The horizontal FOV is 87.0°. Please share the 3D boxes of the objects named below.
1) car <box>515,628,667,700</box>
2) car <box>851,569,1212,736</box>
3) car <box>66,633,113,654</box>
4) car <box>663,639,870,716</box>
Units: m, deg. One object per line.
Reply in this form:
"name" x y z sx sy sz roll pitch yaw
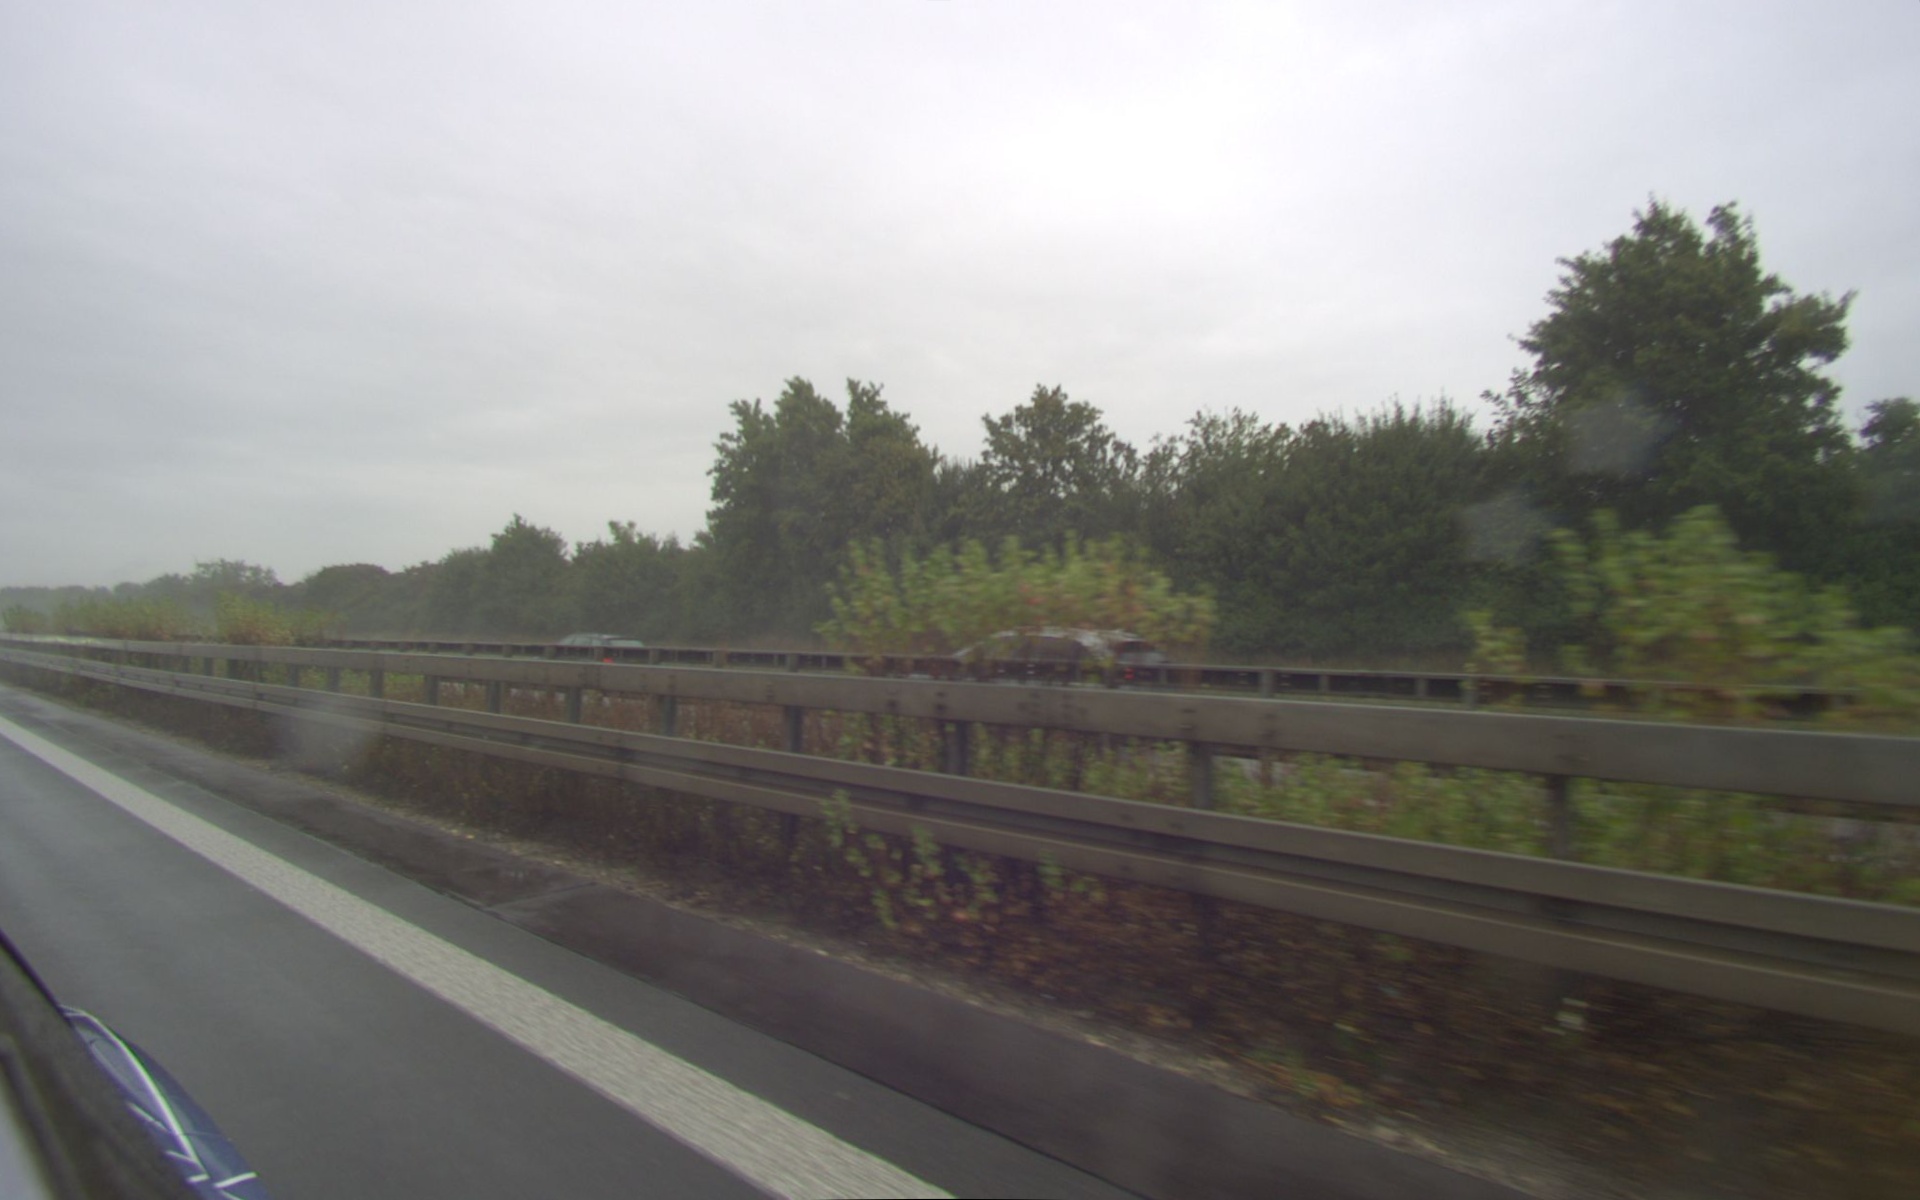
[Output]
"car" -10.426 1.746 28.424 4.625 1.805 2.010 -2 -1 41
"car" 0.837 0.659 13.808 4.625 1.899 2.010 -2 -1 41
"car" -66.110 3.275 76.836 5.431 1.524 1.907 -2 -1 41
"car" -4.578 1.703 23.482 4.901 1.524 2.136 -2 -1 41
